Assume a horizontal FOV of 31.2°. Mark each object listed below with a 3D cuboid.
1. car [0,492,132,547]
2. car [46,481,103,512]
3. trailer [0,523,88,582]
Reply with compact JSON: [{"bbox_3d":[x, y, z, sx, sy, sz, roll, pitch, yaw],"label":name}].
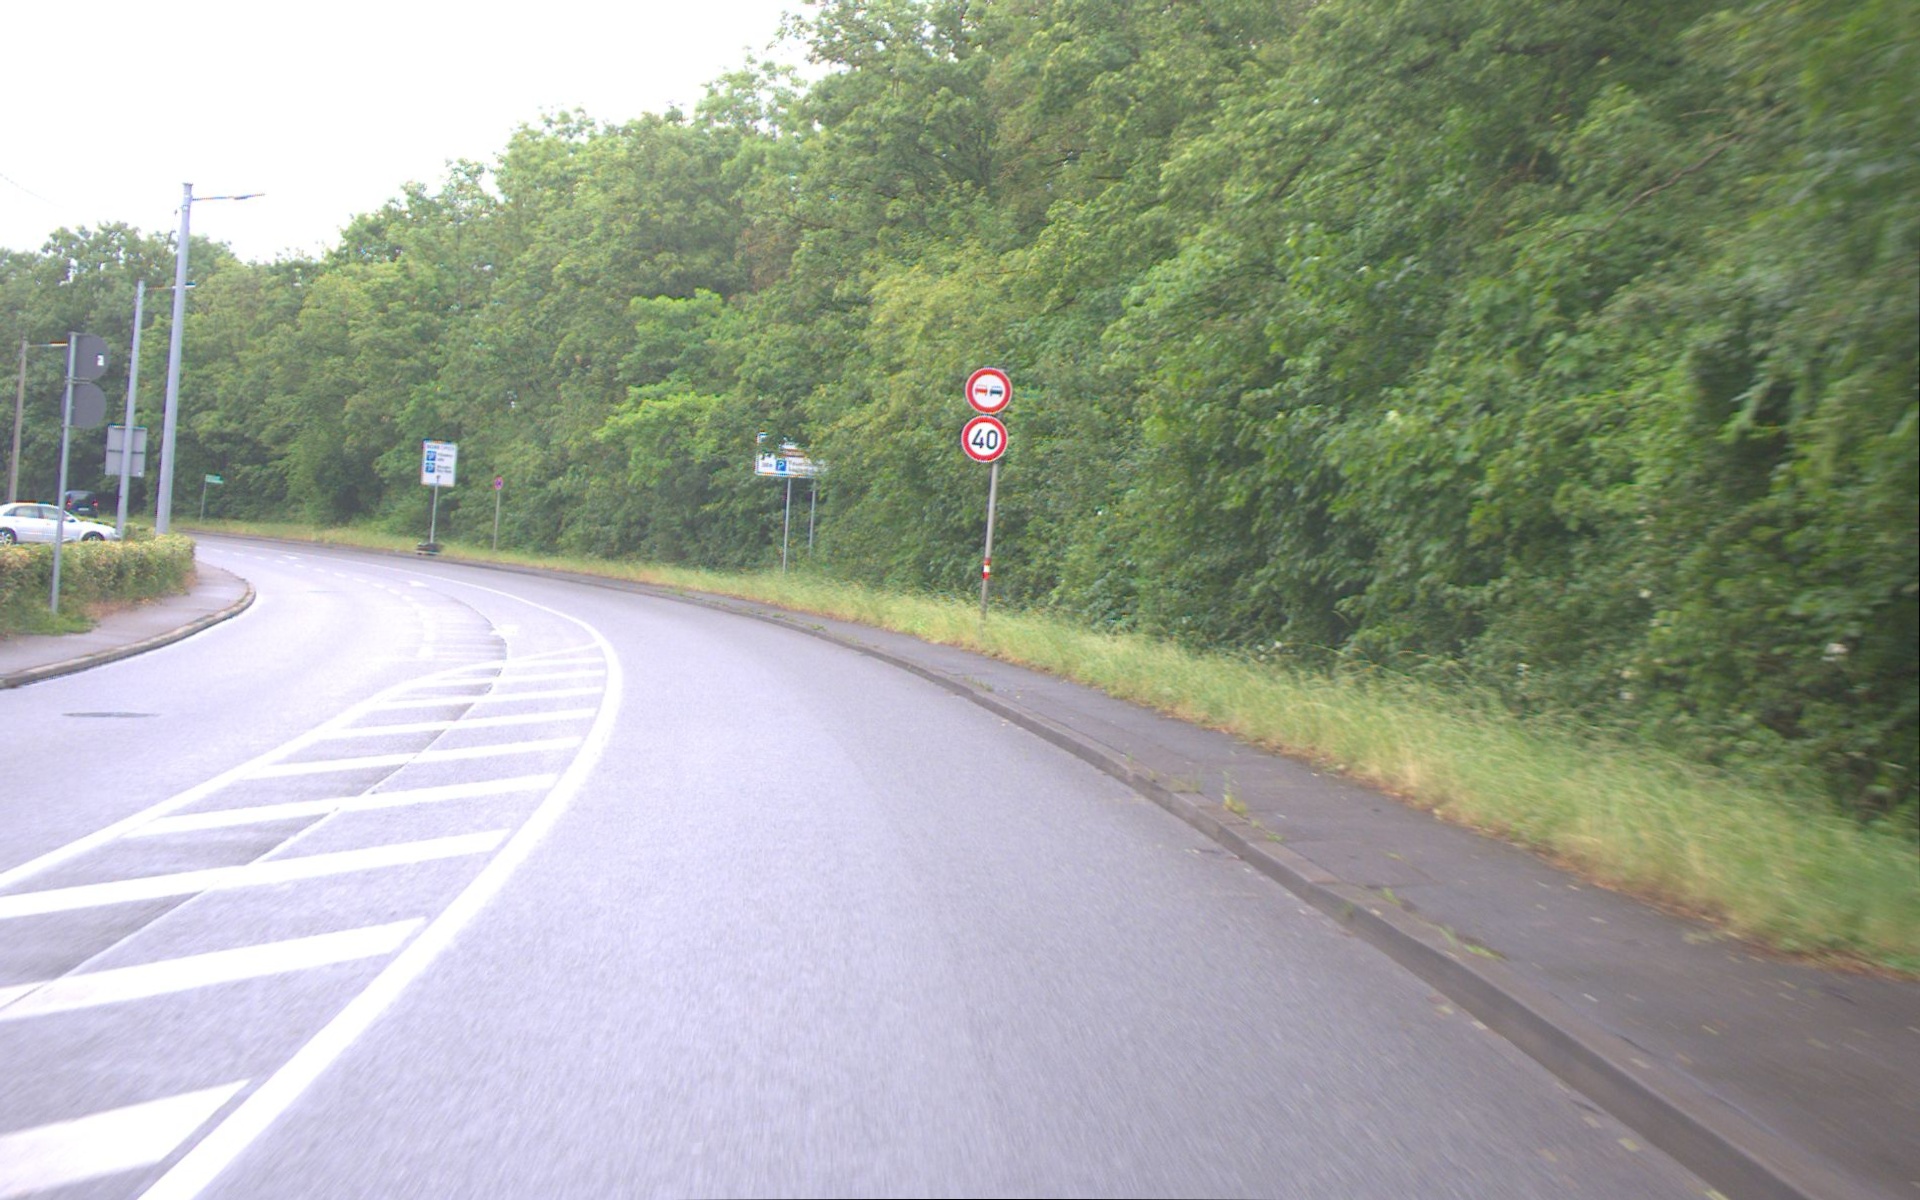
[{"bbox_3d":[-27.850,-2.481,105.157,4.574,1.501,2.001,2,1,-22],"label":"car"},{"bbox_3d":[-46.886,-5.497,182.052,1.935,1.493,4.319,2,2,-28],"label":"car"},{"bbox_3d":[-17.421,-0.907,64.902,1.800,1.031,1.334,2,1,-14],"label":"trailer"}]
